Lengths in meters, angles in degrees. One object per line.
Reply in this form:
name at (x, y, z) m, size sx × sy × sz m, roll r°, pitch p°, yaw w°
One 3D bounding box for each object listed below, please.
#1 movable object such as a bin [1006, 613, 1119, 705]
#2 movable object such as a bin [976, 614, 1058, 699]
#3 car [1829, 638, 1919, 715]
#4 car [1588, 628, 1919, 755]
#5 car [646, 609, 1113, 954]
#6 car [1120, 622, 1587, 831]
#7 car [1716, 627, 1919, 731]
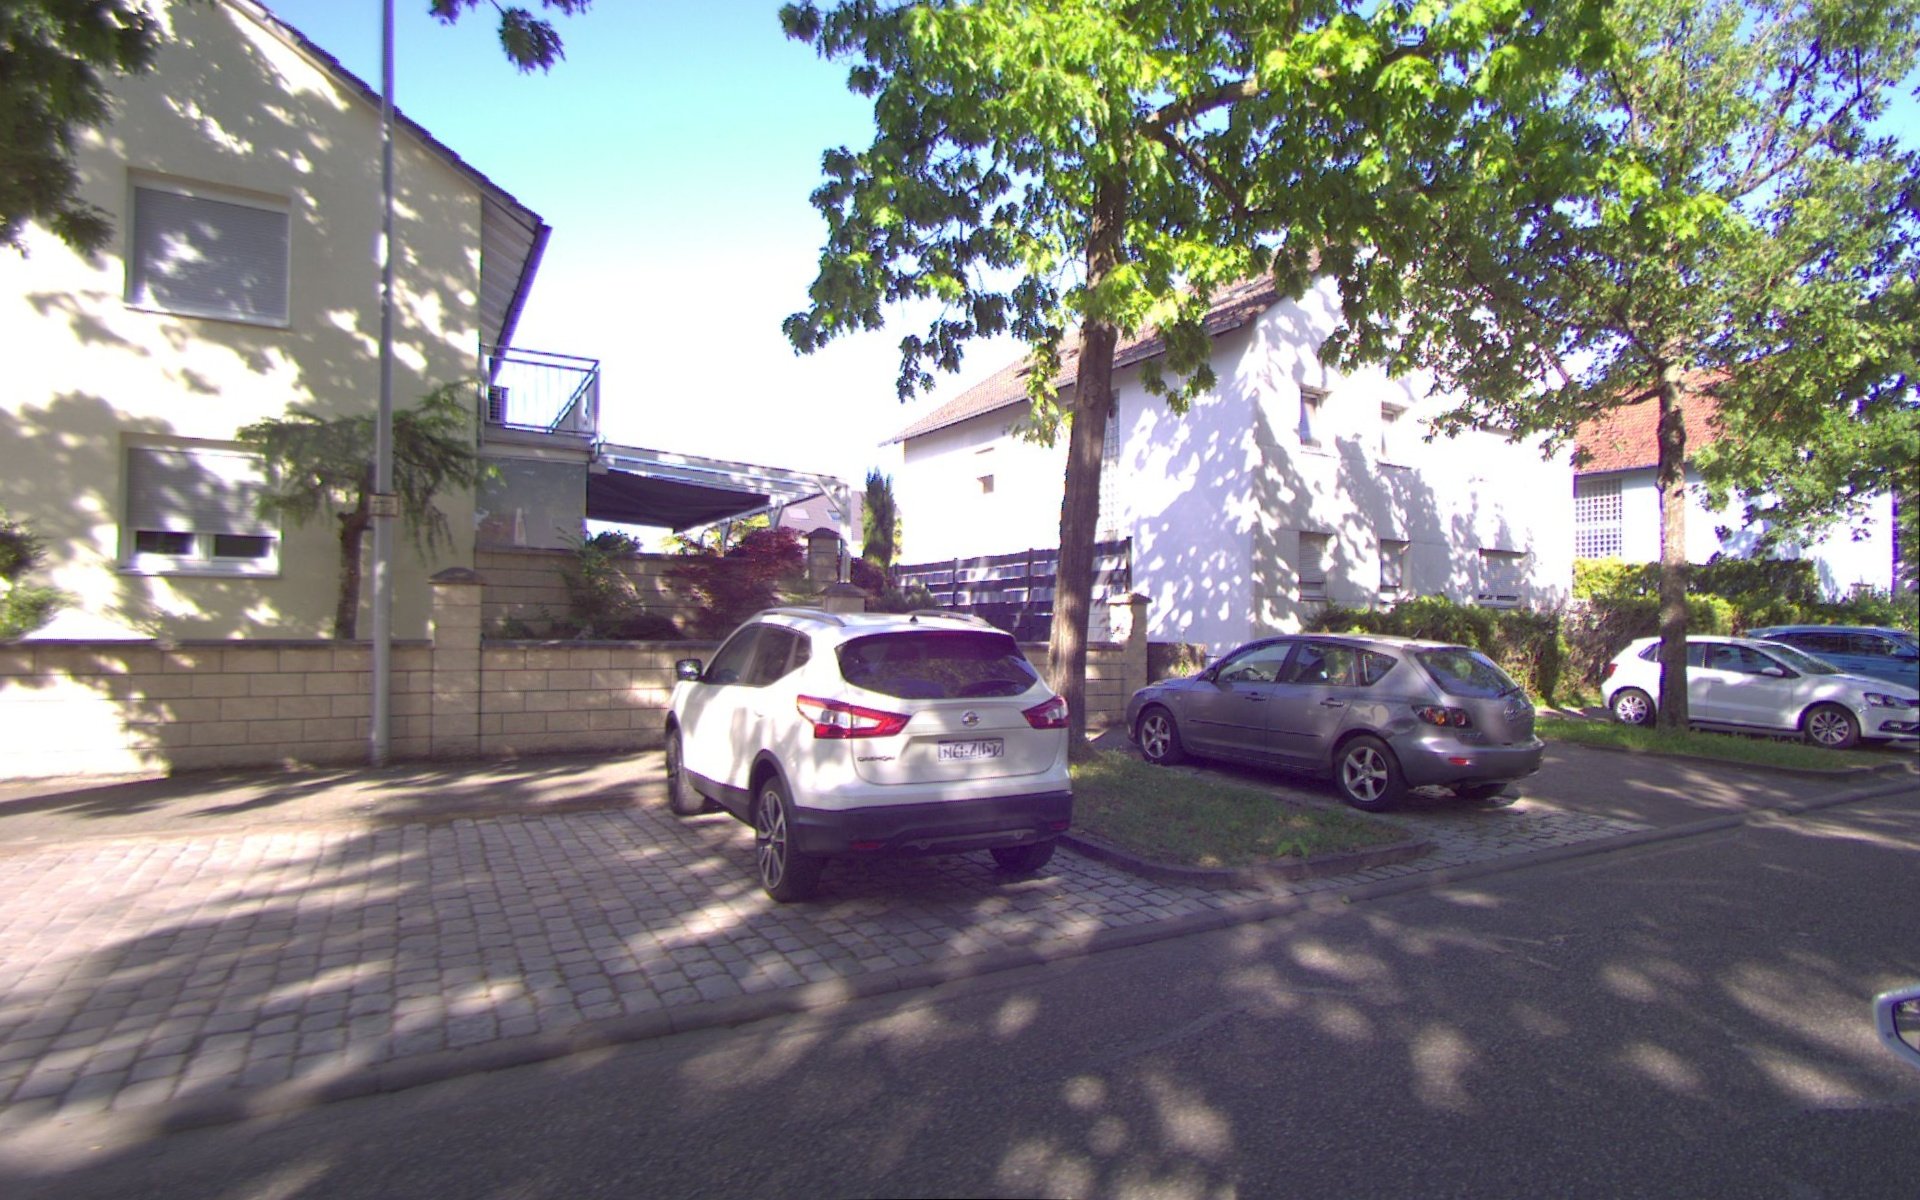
movable object such as a bin at (1.716, 0.981, 16.945) m, size 1.261 × 1.453 × 1.488 m, roll 2°, pitch -2°, yaw -30°
movable object such as a bin at (1.019, 1.011, 17.983) m, size 1.111 × 1.455 × 0.949 m, roll 2°, pitch -2°, yaw -30°
car at (19.832, 1.516, 19.530) m, size 1.627 × 1.511 × 4.164 m, roll 2°, pitch -3°, yaw -29°
car at (11.917, 1.252, 14.979) m, size 1.835 × 1.616 × 3.969 m, roll 2°, pitch -3°, yaw -29°
car at (-0.897, 0.900, 7.066) m, size 1.769 × 1.588 × 4.171 m, roll 1°, pitch 0°, yaw -28°
car at (3.569, 1.025, 9.866) m, size 1.789 × 1.442 × 4.013 m, roll 1°, pitch 0°, yaw -31°
car at (15.851, 1.308, 17.012) m, size 1.914 × 1.652 × 4.504 m, roll 2°, pitch -3°, yaw -29°
